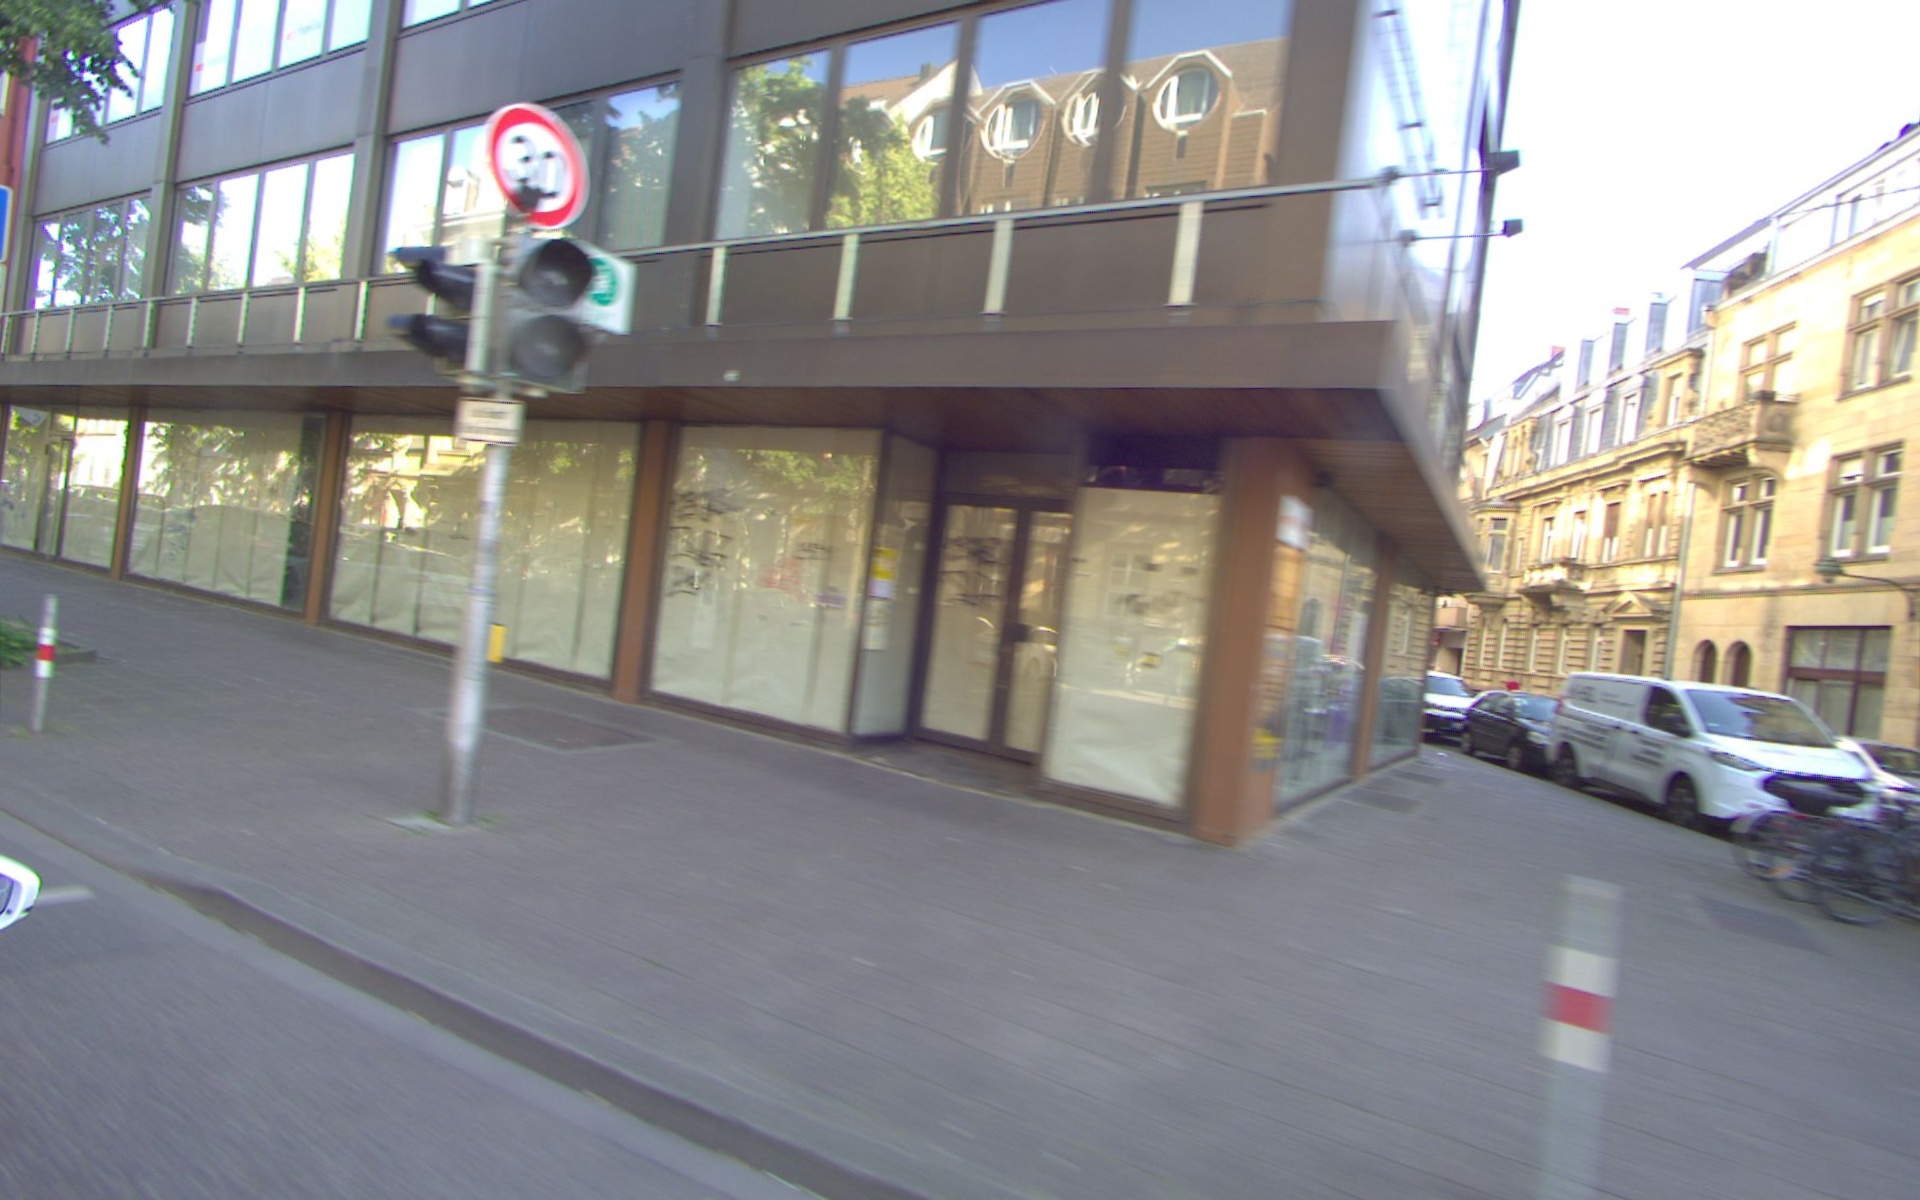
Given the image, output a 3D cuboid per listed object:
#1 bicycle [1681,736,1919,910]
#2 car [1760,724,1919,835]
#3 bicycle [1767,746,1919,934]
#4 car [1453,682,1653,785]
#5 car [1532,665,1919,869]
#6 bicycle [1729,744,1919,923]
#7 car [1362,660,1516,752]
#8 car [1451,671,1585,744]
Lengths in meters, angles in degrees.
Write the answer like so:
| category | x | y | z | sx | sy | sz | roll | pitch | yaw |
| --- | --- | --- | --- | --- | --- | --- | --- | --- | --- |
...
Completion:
| category | x | y | z | sx | sy | sz | roll | pitch | yaw |
| --- | --- | --- | --- | --- | --- | --- | --- | --- | --- |
| bicycle | 7.704 | 1.995 | 9.098 | 1.714 | 1.146 | 0.573 | 11 | 1 | 6 |
| car | 15.914 | 3.079 | 17.201 | 1.742 | 1.428 | 3.672 | 6 | -2 | 7 |
| bicycle | 7.352 | 1.892 | 7.506 | 1.981 | 1.175 | 0.573 | 11 | 1 | 2 |
| car | 11.312 | 2.488 | 19.516 | 1.942 | 1.428 | 3.672 | 6 | -2 | 7 |
| car | 10.538 | 2.133 | 14.406 | 2.078 | 1.952 | 4.955 | 7 | -1 | 7 |
| bicycle | 7.524 | 1.954 | 8.183 | 1.892 | 1.146 | 0.573 | 11 | 1 | 2 |
| car | 11.697 | 2.517 | 24.912 | 1.962 | 1.697 | 4.320 | 7 | -1 | 7 |
| car | 17.319 | 3.285 | 31.488 | 1.962 | 1.697 | 4.320 | 7 | -1 | 7 |
